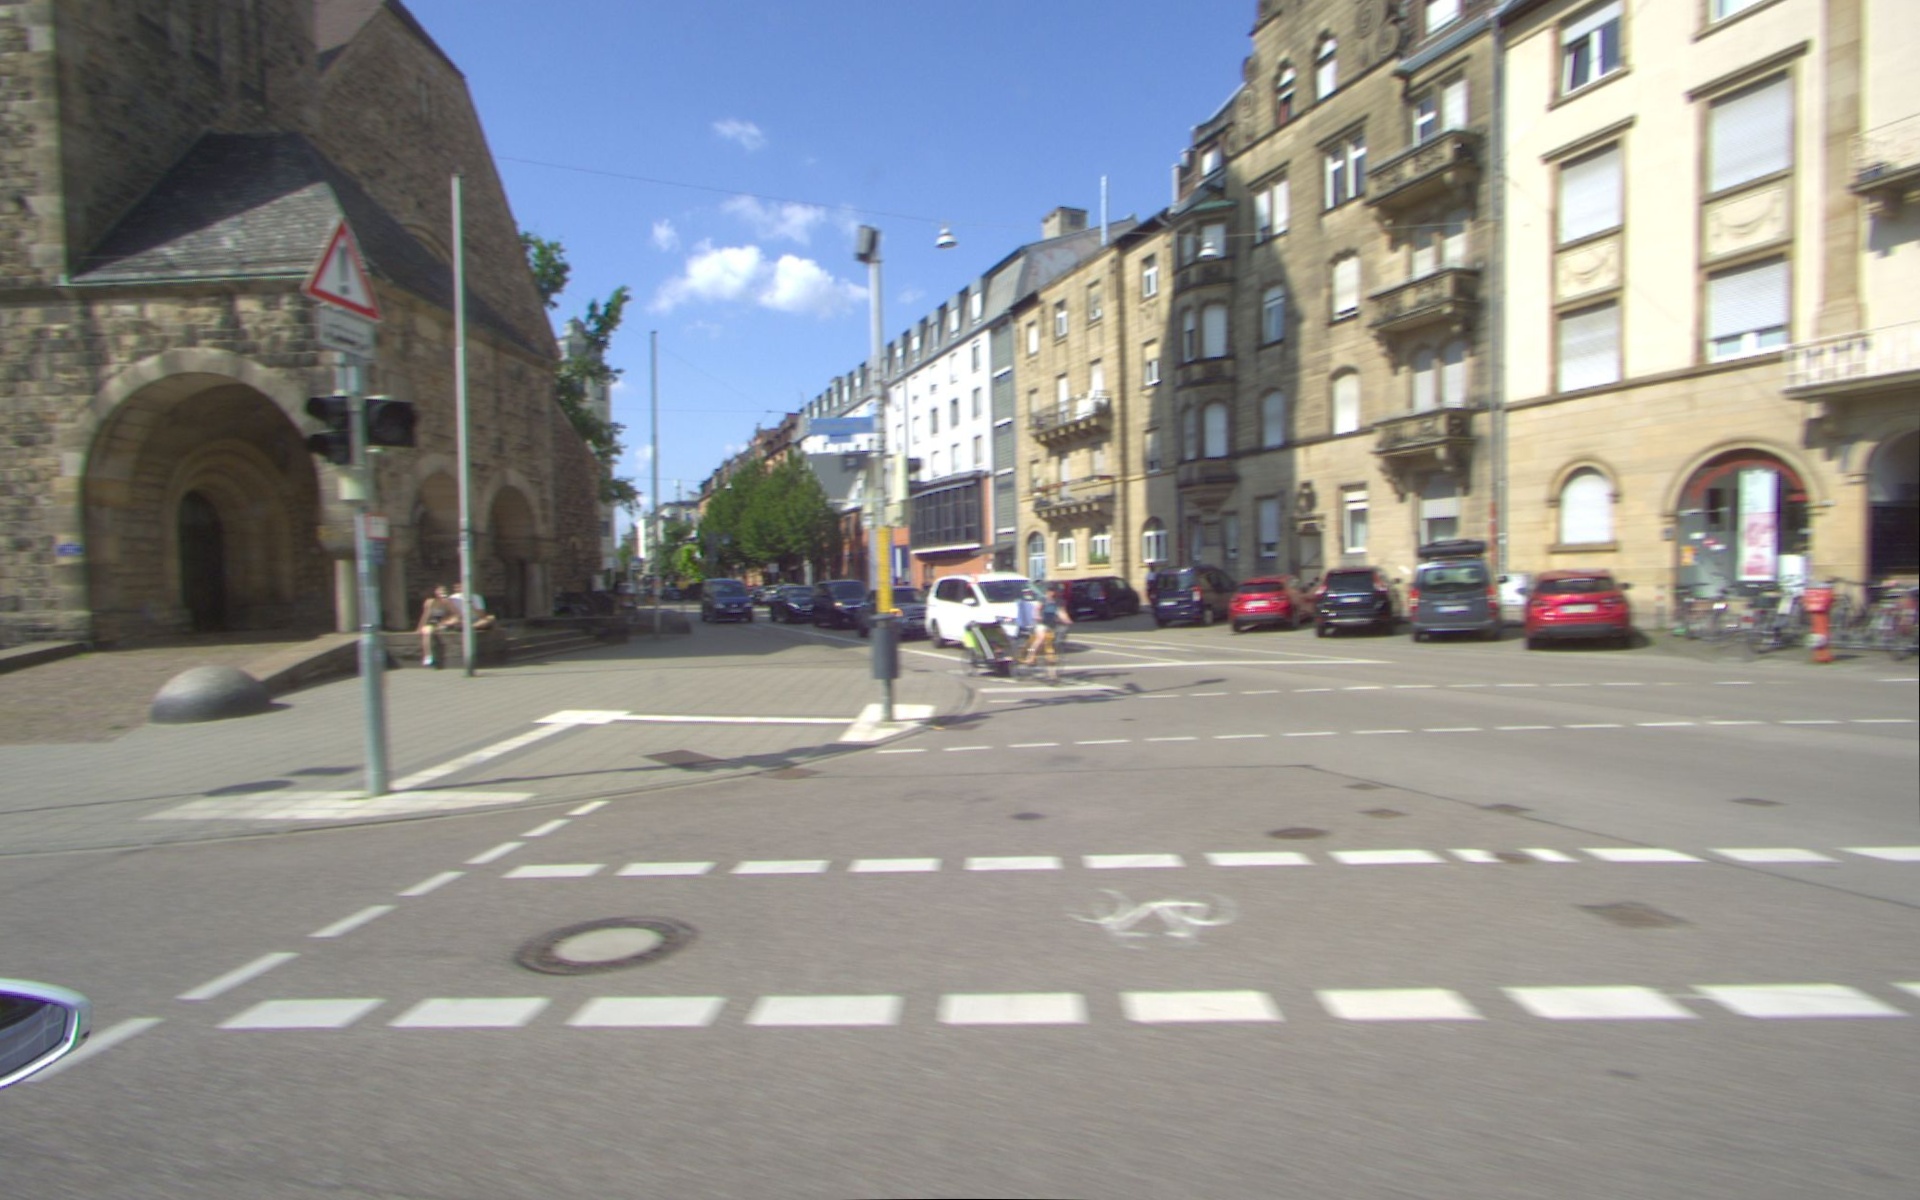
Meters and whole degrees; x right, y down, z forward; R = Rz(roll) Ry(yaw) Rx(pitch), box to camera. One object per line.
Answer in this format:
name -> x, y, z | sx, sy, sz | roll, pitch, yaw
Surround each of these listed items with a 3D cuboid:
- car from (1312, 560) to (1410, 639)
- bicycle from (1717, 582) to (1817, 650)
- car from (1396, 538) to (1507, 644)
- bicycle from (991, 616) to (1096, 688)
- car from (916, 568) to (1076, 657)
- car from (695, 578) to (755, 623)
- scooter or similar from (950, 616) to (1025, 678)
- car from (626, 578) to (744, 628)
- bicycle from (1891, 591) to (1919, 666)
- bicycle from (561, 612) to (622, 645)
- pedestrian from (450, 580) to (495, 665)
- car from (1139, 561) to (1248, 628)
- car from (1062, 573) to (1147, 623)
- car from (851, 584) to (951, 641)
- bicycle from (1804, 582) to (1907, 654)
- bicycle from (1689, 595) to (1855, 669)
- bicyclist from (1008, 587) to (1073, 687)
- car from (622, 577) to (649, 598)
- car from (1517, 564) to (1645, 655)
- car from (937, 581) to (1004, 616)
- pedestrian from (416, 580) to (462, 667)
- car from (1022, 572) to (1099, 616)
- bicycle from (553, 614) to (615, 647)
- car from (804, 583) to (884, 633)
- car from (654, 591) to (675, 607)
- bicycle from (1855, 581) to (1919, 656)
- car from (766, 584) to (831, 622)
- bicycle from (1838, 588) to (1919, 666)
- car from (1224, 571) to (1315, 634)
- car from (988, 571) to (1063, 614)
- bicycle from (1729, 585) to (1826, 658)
car -> 10.140, -0.057, 25.155 | 1.686, 1.691, 3.977 | -2, 3, 31
bicycle -> 14.161, 0.264, 17.555 | 1.897, 1.032, 0.538 | -5, 3, -23
car -> 11.223, -0.264, 22.715 | 1.939, 2.111, 3.977 | -2, 3, 31
bicycle -> 1.291, 0.785, 15.940 | 0.642, 1.003, 2.125 | -2, 2, -26
car -> 0.678, 0.208, 22.610 | 1.785, 1.764, 4.646 | -2, 2, -23
car -> -9.962, -0.036, 42.266 | 1.785, 1.688, 4.058 | -3, 3, -22
scooter or similar -> 0.466, 0.793, 17.357 | 0.877, 0.990, 1.126 | -2, 2, -27
car -> -9.869, 0.090, 35.889 | 3.918, 1.675, 2.020 | 0, 2, 34
bicycle -> 14.556, 0.368, 14.491 | 1.892, 1.032, 0.539 | -4, 3, -9
bicycle -> -8.933, 0.692, 24.276 | 1.340, 0.751, 0.339 | -1, 2, 1
pedestrian -> -8.707, 0.394, 17.903 | 0.553, 1.428, 0.512 | -6, 10, -44
car -> 7.454, -0.204, 31.680 | 1.892, 1.850, 3.970 | -1, 3, 36
car -> 5.402, -0.097, 36.963 | 1.686, 1.567, 3.977 | -2, 3, 31
car -> -1.734, 0.295, 28.247 | 1.647, 1.470, 3.722 | -2, 2, -23
bicycle -> 14.873, 0.276, 16.618 | 1.897, 1.032, 0.538 | -5, 3, -23
bicycle -> 12.494, 0.475, 15.460 | 0.534, 1.032, 1.913 | -6, 3, -39
bicyclist -> 1.275, 0.561, 15.950 | 0.642, 1.524, 0.918 | -2, 2, -27
car -> -22.642, -0.893, 69.925 | 1.614, 1.343, 3.735 | -2, 2, -16
car -> 12.150, 0.132, 19.736 | 1.939, 1.461, 3.977 | -2, 3, 31
car -> 0.539, -0.081, 47.576 | 1.583, 1.416, 3.552 | -2, 3, 31
pedestrian -> -9.108, 0.401, 17.506 | 0.553, 1.428, 0.512 | -6, 10, -44
car -> 4.030, -0.254, 39.766 | 1.583, 1.476, 3.754 | -2, 3, 31
bicycle -> -8.946, 0.725, 23.840 | 1.340, 0.751, 0.339 | -1, 2, 1
car -> -4.115, 0.226, 35.007 | 1.675, 1.618, 4.057 | -2, 2, -23
car -> -35.266, -0.113, 119.322 | 1.967, 1.840, 3.986 | -2, 1, -22
bicycle -> 15.160, 0.273, 15.991 | 1.897, 1.032, 0.538 | -5, 3, -23
car -> -6.544, 0.100, 40.400 | 1.675, 1.409, 3.847 | -2, 1, -23
bicycle -> 14.245, 0.373, 15.006 | 1.892, 1.032, 0.539 | -4, 3, -9
car -> 8.854, 0.022, 28.461 | 1.886, 1.464, 3.983 | -2, 3, 26
car -> 2.829, -0.339, 42.372 | 1.583, 1.521, 3.754 | -2, 3, 31
bicycle -> 13.595, 0.336, 16.637 | 1.898, 1.032, 0.538 | -5, 3, -27
